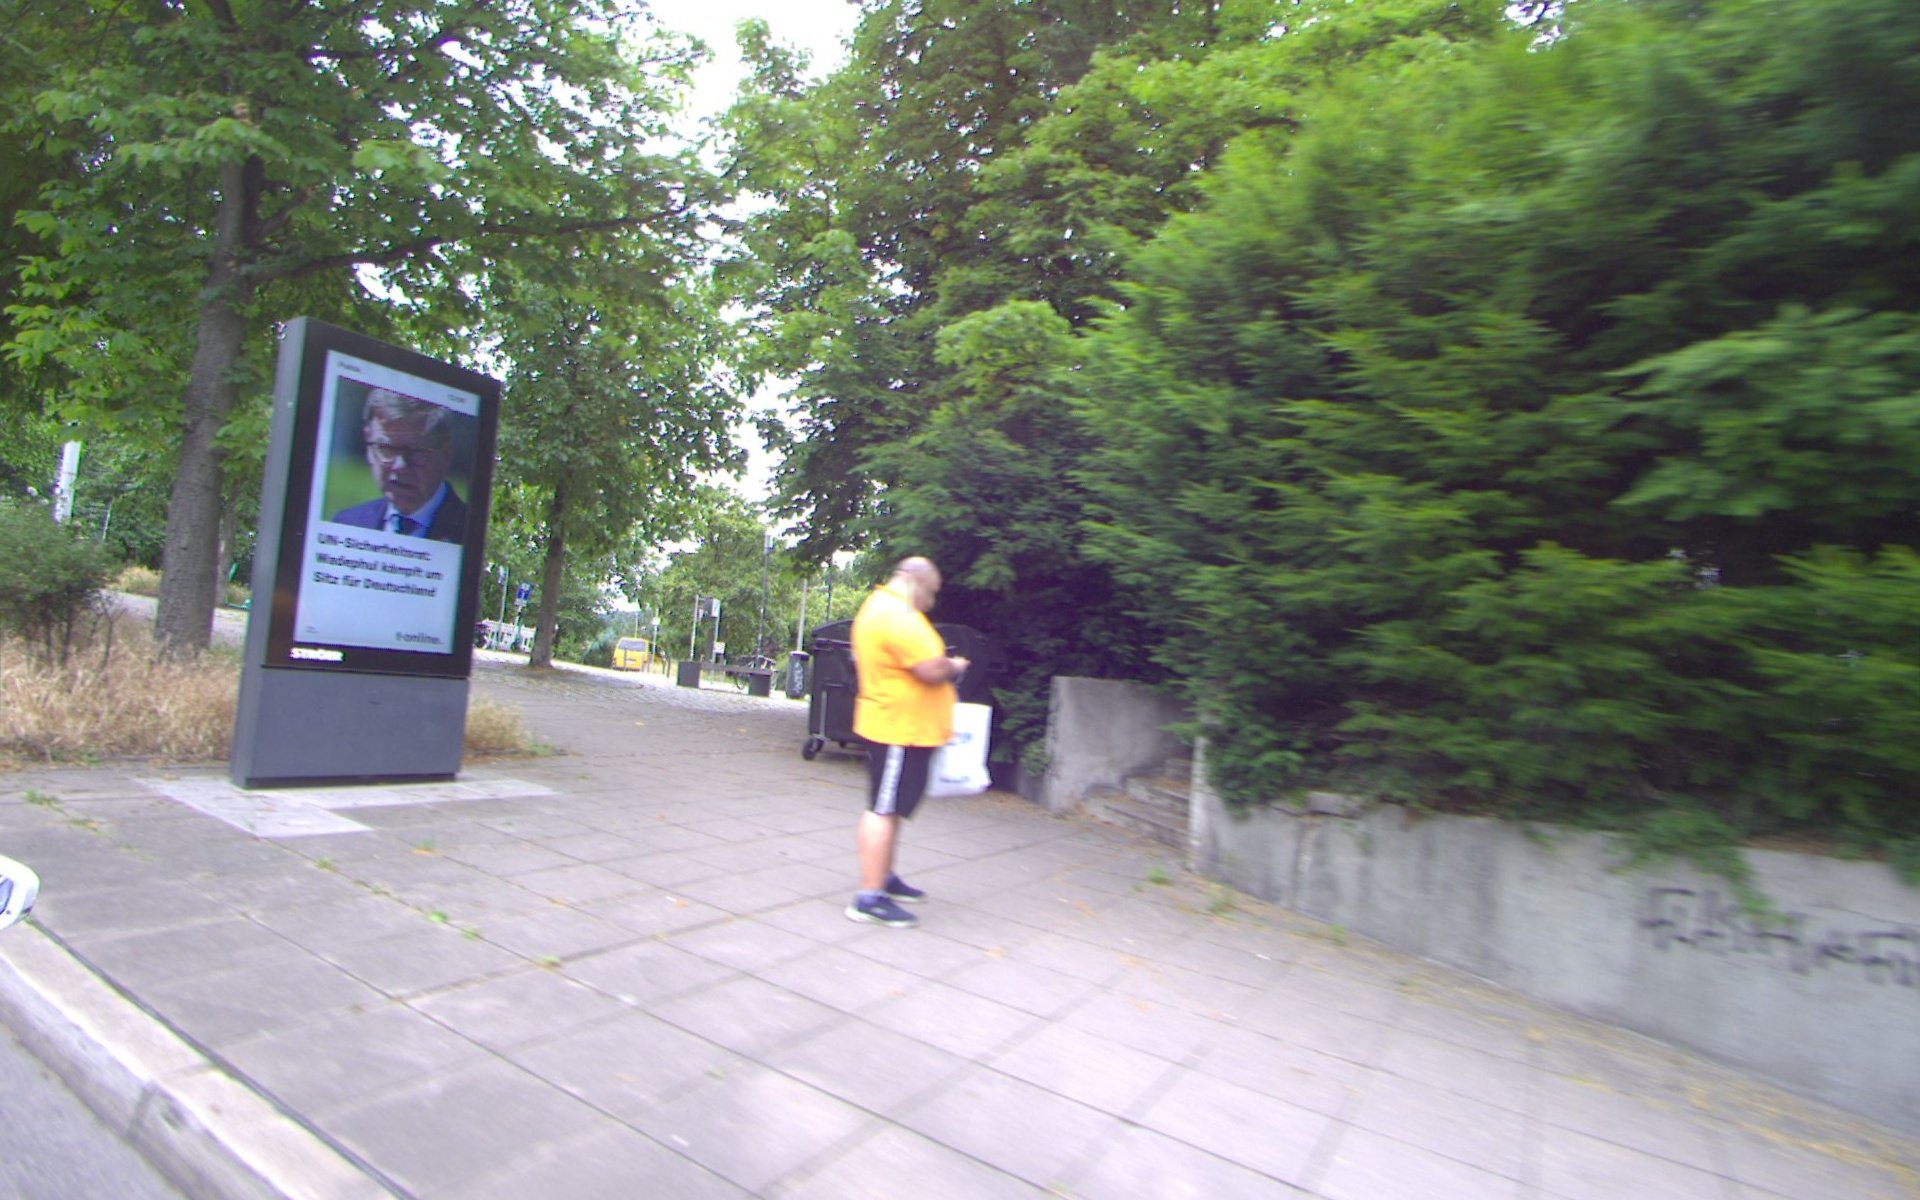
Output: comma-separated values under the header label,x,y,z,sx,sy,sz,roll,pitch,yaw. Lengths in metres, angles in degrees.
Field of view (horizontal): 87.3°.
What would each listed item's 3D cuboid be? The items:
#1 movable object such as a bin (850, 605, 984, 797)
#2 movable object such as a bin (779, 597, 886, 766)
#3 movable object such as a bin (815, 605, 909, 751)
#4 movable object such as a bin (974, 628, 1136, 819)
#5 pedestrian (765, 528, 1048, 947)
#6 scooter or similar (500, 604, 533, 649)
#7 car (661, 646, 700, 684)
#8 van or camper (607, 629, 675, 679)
label,x,y,z,sx,sy,sz,roll,pitch,yaw
movable object such as a bin,-0.415,0.870,9.066,0.831,1.553,1.147,7,-1,-14
movable object such as a bin,-1.293,0.822,10.497,0.829,1.553,1.259,8,-2,-3
movable object such as a bin,-1.135,0.926,11.977,0.828,1.552,1.201,8,-3,-1
movable object such as a bin,0.813,1.058,8.821,1.061,1.503,0.809,7,-2,-14
pedestrian,-0.253,0.589,4.743,0.825,1.733,0.817,6,-1,45
scooter or similar,-13.405,0.798,30.391,0.461,1.260,1.308,11,-6,-36
car,-17.206,3.975,61.998,1.970,2.034,3.994,9,-5,-15
van or camper,-16.002,2.779,50.756,1.855,1.996,4.482,8,-6,-1
